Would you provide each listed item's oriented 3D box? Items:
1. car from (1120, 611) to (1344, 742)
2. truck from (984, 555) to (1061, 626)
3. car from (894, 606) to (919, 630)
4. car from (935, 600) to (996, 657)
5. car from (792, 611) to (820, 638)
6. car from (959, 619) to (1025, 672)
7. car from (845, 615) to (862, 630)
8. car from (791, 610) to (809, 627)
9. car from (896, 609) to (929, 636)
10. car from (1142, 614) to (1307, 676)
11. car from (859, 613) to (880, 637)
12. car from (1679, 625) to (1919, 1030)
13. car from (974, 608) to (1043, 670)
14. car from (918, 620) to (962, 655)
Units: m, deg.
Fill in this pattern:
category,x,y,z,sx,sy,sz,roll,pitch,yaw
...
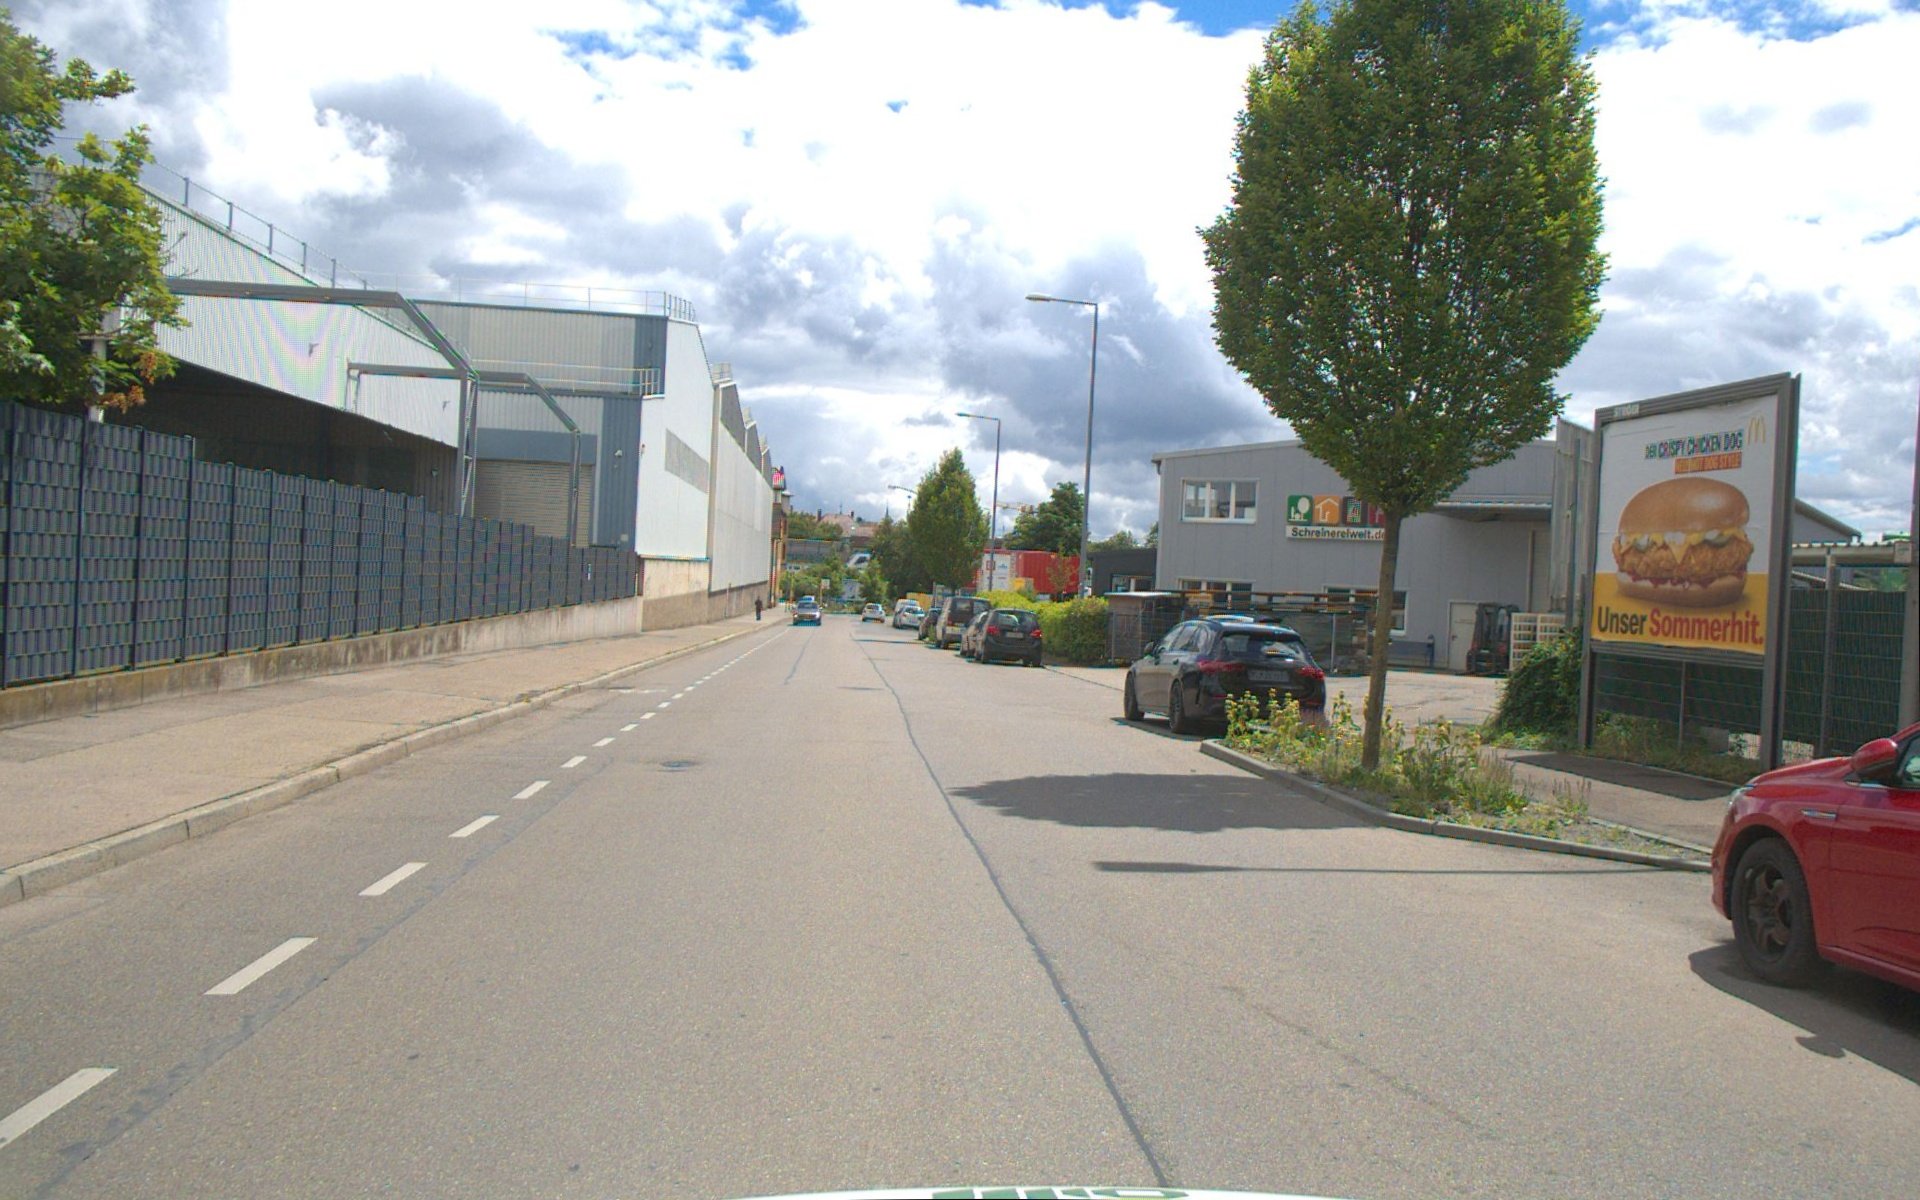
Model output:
category,x,y,z,sx,sy,sz,roll,pitch,yaw
car,3.473,0.958,22.040,1.756,1.491,4.702,3,-1,-6
truck,4.278,-0.586,115.110,2.535,4.527,7.817,3,-3,-19
car,-3.822,1.289,117.974,1.667,1.554,3.735,3,-1,-3
car,0.173,1.100,63.395,1.832,2.025,5.138,2,-1,-5
car,-9.761,1.564,105.121,1.686,1.583,4.283,-1,-2,-5
car,1.002,1.434,53.507,1.623,1.567,4.729,3,-1,-5
car,-11.908,2.513,185.016,1.817,1.512,3.995,3,-3,-5
car,-16.714,1.942,173.056,1.817,1.512,3.995,3,-3,-5
car,-3.110,1.455,107.384,1.670,1.554,3.731,5,-1,-8
car,6.768,1.133,42.537,1.711,1.488,4.011,0,-1,-43
car,-7.251,2.005,132.577,1.536,1.818,3.601,2,-3,-5
car,4.526,0.921,6.009,1.701,1.498,4.258,3,0,-4
car,1.387,1.138,48.488,1.646,1.667,4.120,2,-1,-3
car,-0.973,1.723,77.122,1.681,1.499,4.506,3,-1,-5
